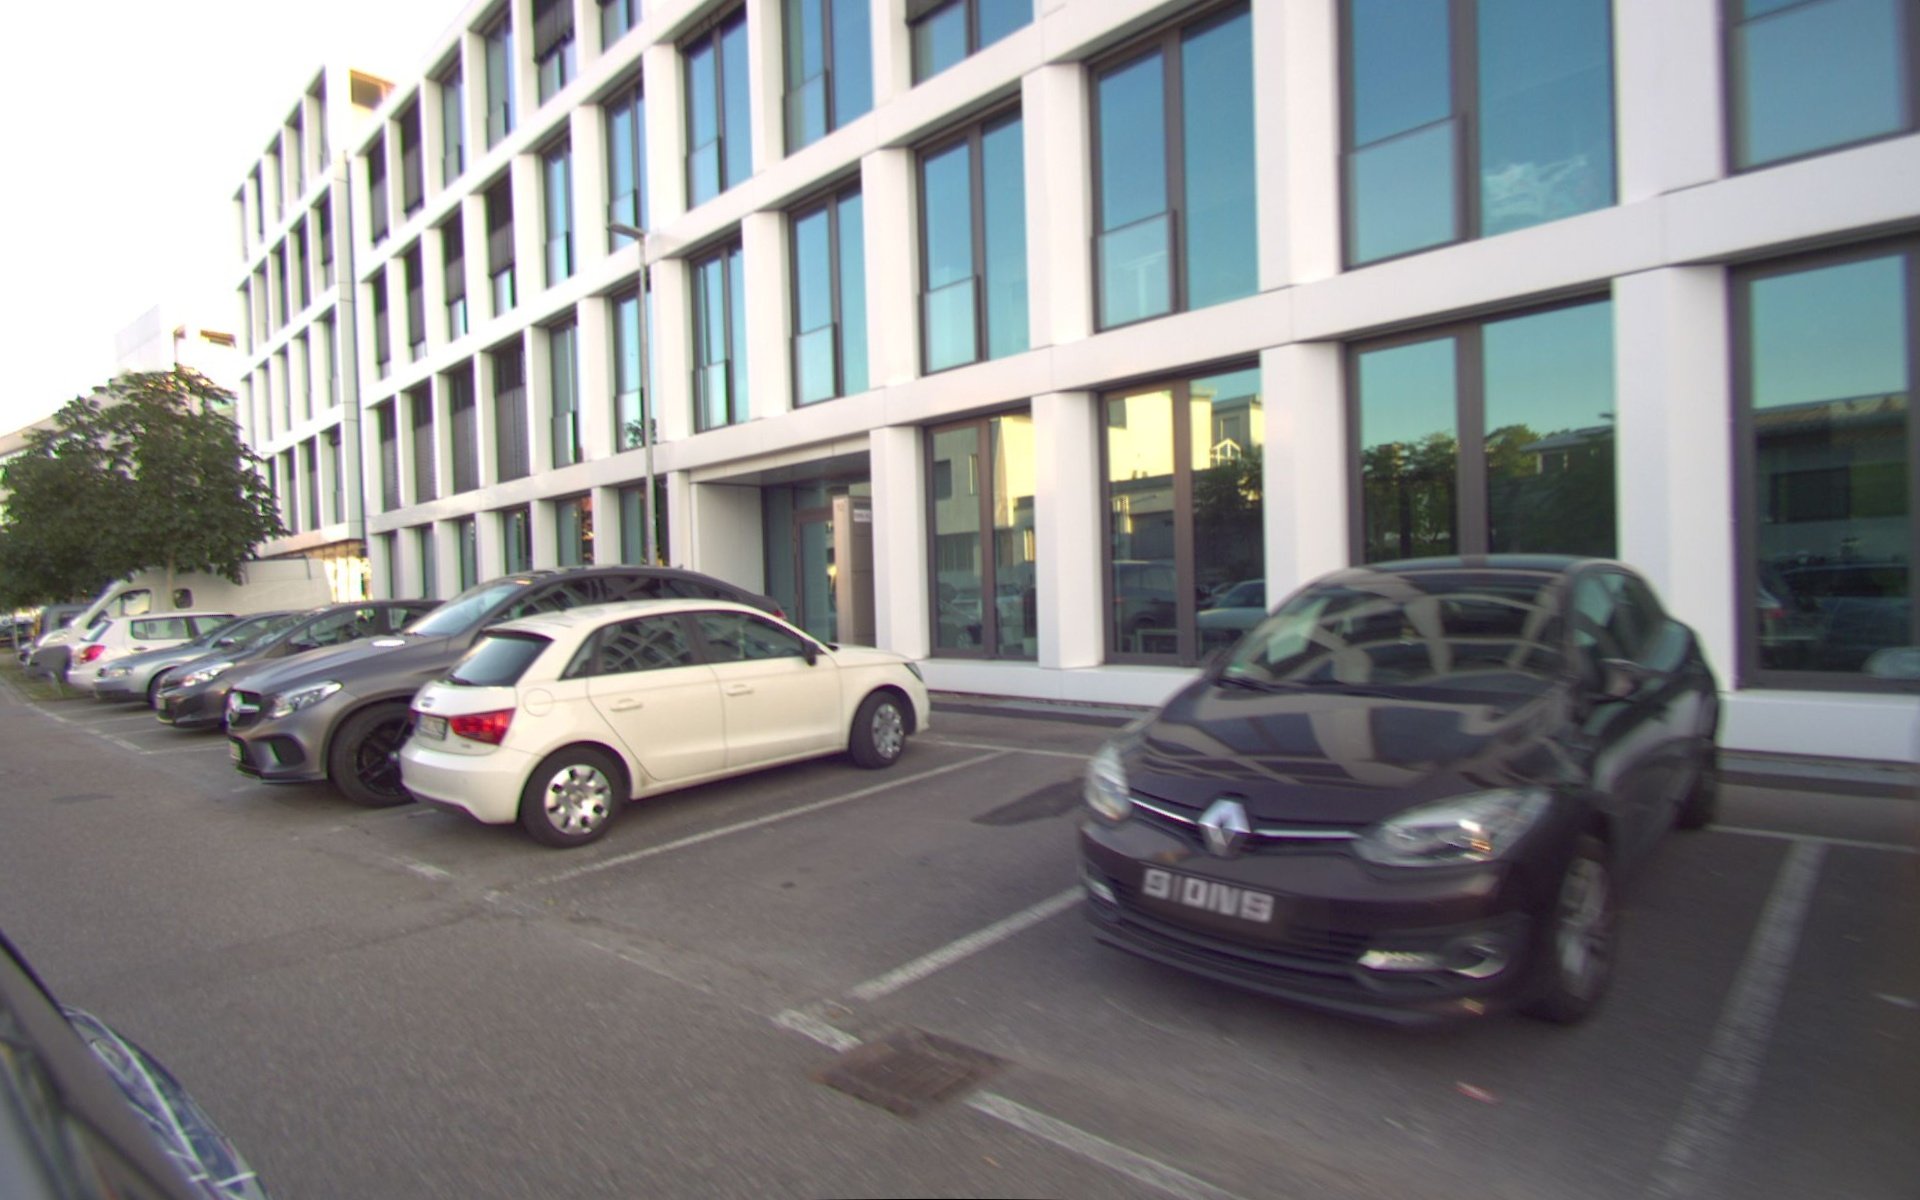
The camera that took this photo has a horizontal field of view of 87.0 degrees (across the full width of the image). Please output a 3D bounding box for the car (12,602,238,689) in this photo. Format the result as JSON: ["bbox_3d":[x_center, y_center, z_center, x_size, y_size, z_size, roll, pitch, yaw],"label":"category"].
[{"bbox_3d":[-20.949,1.075,25.532,1.814,1.830,4.069,-3,1,39],"label":"car"}]

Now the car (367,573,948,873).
[{"bbox_3d":[-2.016,0.659,7.362,3.624,1.522,1.697,-4,1,-44],"label":"car"}]

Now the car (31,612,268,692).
[{"bbox_3d":[-19.079,1.161,23.981,1.772,1.510,4.069,-3,1,39],"label":"car"}]

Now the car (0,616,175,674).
[{"bbox_3d":[-28.347,1.418,32.950,1.844,1.530,4.066,-3,1,41],"label":"car"}]

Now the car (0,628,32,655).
[{"bbox_3d":[-55.201,2.458,57.360,1.725,1.435,3.609,-2,2,41],"label":"car"}]

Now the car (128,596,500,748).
[{"bbox_3d":[-8.312,0.828,13.273,1.693,1.533,3.743,-3,1,41],"label":"car"}]

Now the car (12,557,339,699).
[{"bbox_3d":[-16.969,0.490,22.131,2.079,2.652,5.321,-3,1,44],"label":"car"}]

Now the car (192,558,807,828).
[{"bbox_3d":[-3.875,0.586,9.090,4.565,1.719,2.006,-4,1,-44],"label":"car"}]

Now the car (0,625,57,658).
[{"bbox_3d":[-50.986,2.257,54.248,1.725,1.559,3.608,-2,2,42],"label":"car"}]

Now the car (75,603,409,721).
[{"bbox_3d":[-11.852,0.936,16.917,1.795,1.506,4.260,-2,1,44],"label":"car"}]

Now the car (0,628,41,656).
[{"bbox_3d":[-53.155,2.384,55.685,1.725,1.435,3.608,-2,2,42],"label":"car"}]

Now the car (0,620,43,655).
[{"bbox_3d":[-57.208,2.329,59.140,1.886,1.895,5.024,-2,2,36],"label":"car"}]

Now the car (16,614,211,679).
[{"bbox_3d":[-24.315,1.289,29.183,1.780,1.530,4.065,-3,1,42],"label":"car"}]

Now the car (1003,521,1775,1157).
[{"bbox_3d":[2.190,0.507,4.458,1.796,1.522,3.921,-2,1,44],"label":"car"}]

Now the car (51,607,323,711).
[{"bbox_3d":[-14.008,0.998,18.475,1.707,1.506,3.668,-3,1,43],"label":"car"}]

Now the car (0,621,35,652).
[{"bbox_3d":[-60.827,2.388,62.570,1.886,1.840,5.024,-2,2,36],"label":"car"}]
